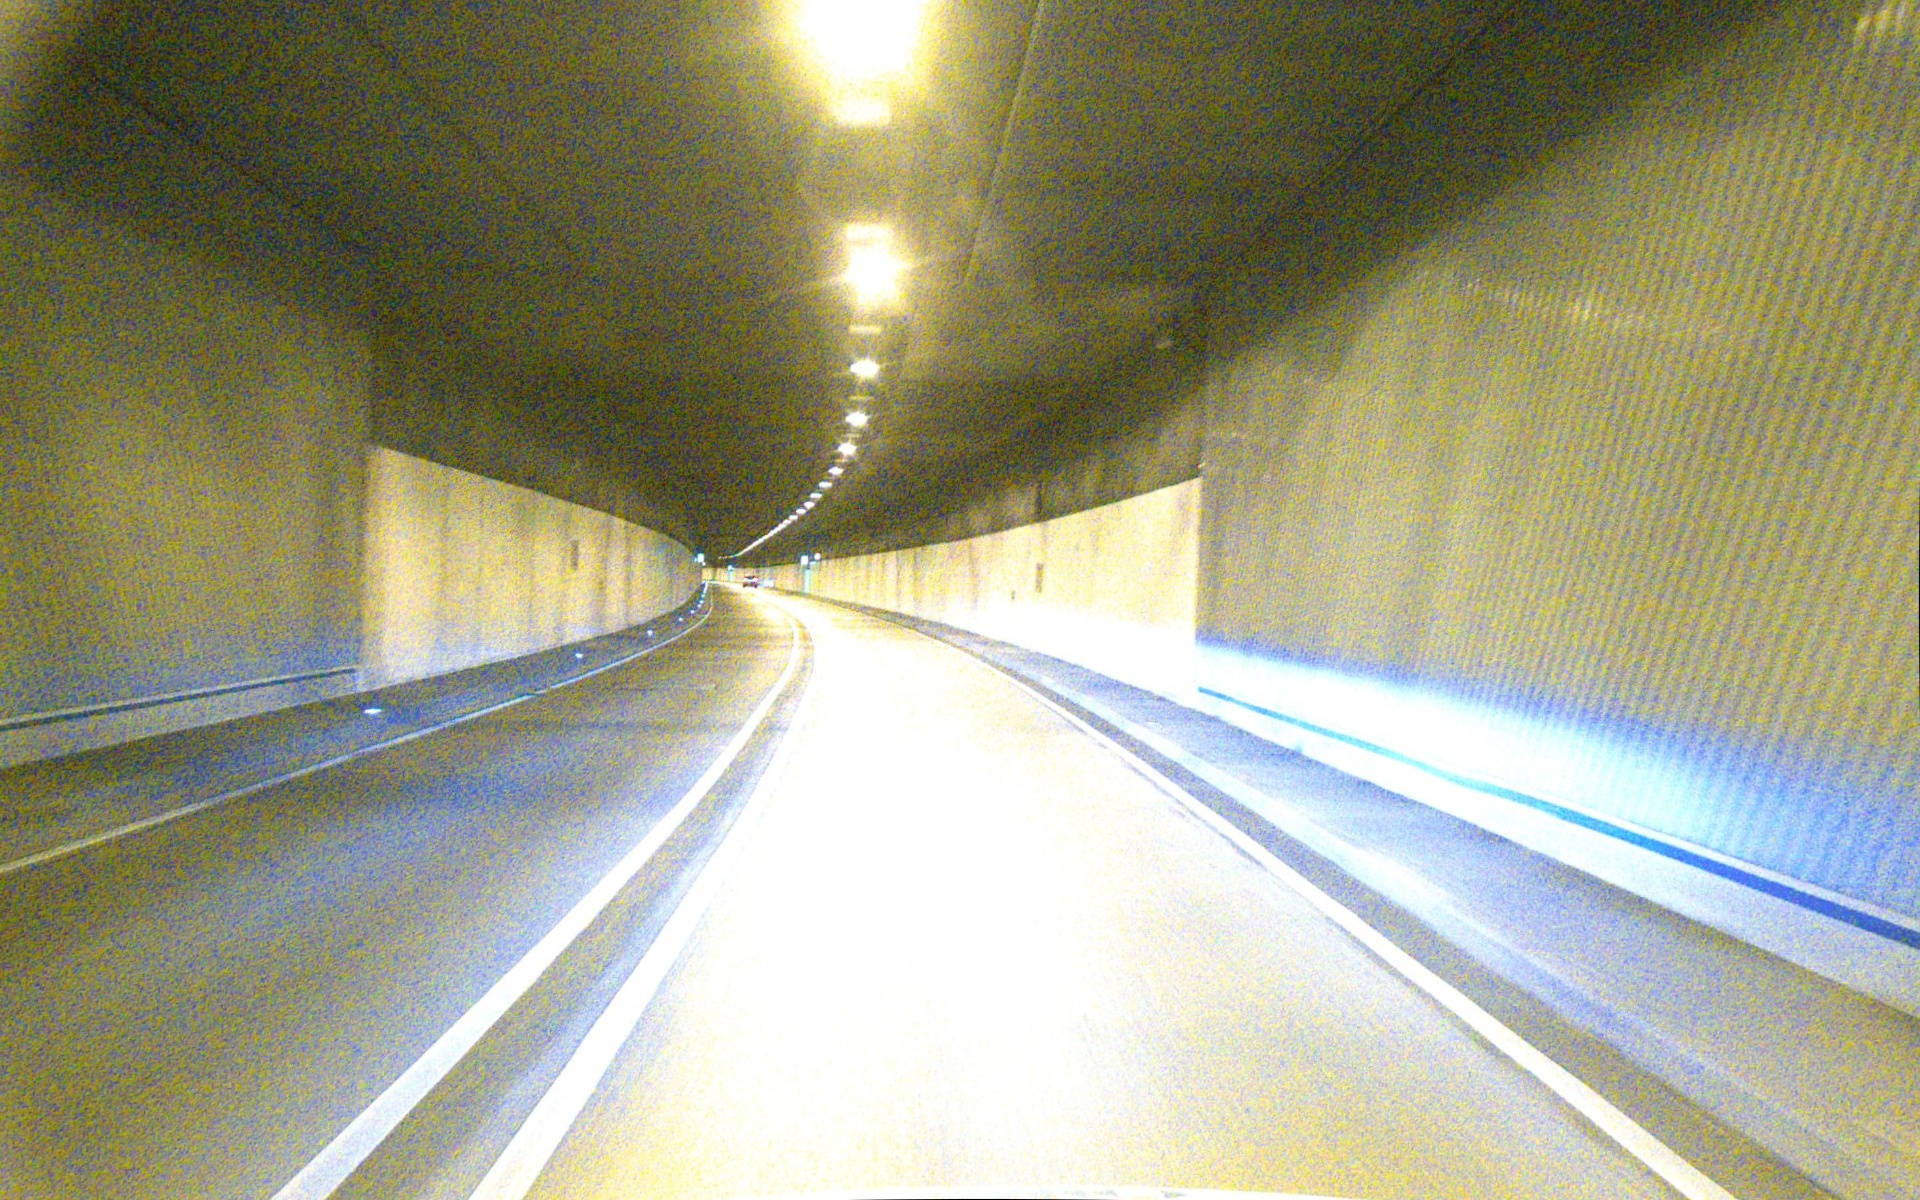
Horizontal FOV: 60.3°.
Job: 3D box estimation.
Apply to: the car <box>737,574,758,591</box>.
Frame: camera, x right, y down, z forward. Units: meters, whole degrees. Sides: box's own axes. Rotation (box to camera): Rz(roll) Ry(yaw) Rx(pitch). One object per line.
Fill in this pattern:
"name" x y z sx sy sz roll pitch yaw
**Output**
"car" -27.103 -2.201 210.886 1.935 1.972 4.592 4 -1 -16
